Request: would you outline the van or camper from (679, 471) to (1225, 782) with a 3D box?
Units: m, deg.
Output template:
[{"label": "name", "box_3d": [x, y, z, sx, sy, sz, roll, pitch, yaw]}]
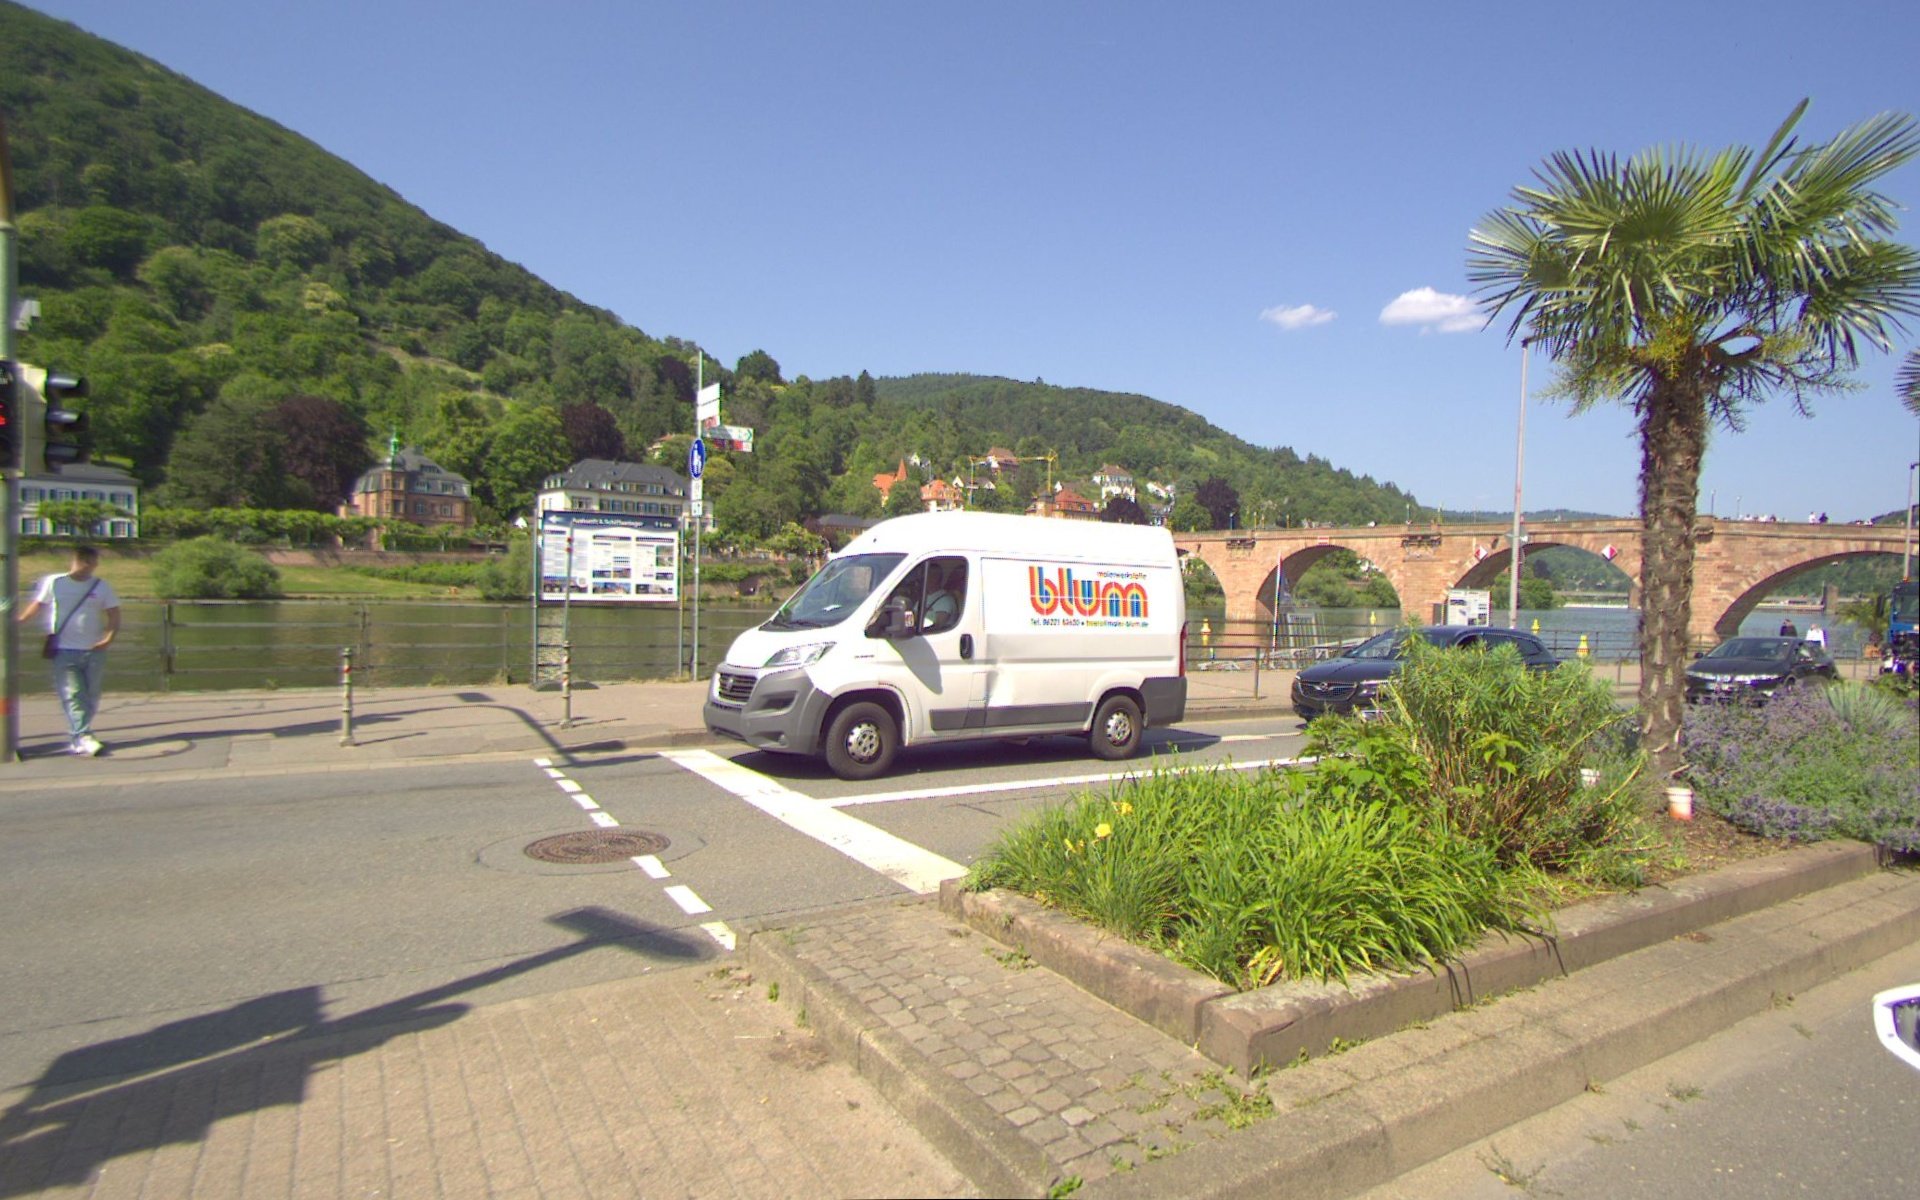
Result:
[{"label": "van or camper", "box_3d": [0.110, 0.287, 10.378, 5.437, 2.482, 1.981, 2, -1, -34]}]

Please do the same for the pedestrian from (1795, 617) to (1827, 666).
[{"label": "pedestrian", "box_3d": [32.134, 1.544, 37.941, 0.690, 1.804, 0.755, 0, 2, -39]}]

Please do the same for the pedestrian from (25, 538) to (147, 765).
[{"label": "pedestrian", "box_3d": [-7.491, 0.413, 8.650, 0.758, 1.804, 0.688, 0, 7, -39]}]

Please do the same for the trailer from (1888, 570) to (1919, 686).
[{"label": "trailer", "box_3d": [32.591, 0.897, 31.662, 8.728, 3.449, 2.643, 1, 1, -32]}]

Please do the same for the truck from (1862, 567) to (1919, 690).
[{"label": "truck", "box_3d": [28.940, 0.832, 29.350, 4.400, 3.449, 2.643, 1, 1, -32]}]

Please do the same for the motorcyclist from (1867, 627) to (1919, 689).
[{"label": "motorcyclist", "box_3d": [23.494, 1.449, 25.247, 0.999, 1.490, 0.732, 1, 1, -29]}]

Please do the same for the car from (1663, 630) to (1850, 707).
[{"label": "car", "box_3d": [16.767, 1.406, 21.104, 4.176, 1.431, 1.940, 3, -2, -34]}]

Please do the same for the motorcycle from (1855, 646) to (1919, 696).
[{"label": "motorcycle", "box_3d": [23.537, 1.758, 25.279, 2.426, 1.147, 0.754, 1, 1, -30]}]

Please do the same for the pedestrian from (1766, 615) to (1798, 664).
[{"label": "pedestrian", "box_3d": [31.616, 1.508, 38.634, 0.690, 1.804, 0.755, 0, 2, -39]}]

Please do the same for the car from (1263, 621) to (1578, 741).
[{"label": "car", "box_3d": [6.733, 1.046, 14.490, 4.875, 1.475, 1.808, 1, -1, -33]}]
